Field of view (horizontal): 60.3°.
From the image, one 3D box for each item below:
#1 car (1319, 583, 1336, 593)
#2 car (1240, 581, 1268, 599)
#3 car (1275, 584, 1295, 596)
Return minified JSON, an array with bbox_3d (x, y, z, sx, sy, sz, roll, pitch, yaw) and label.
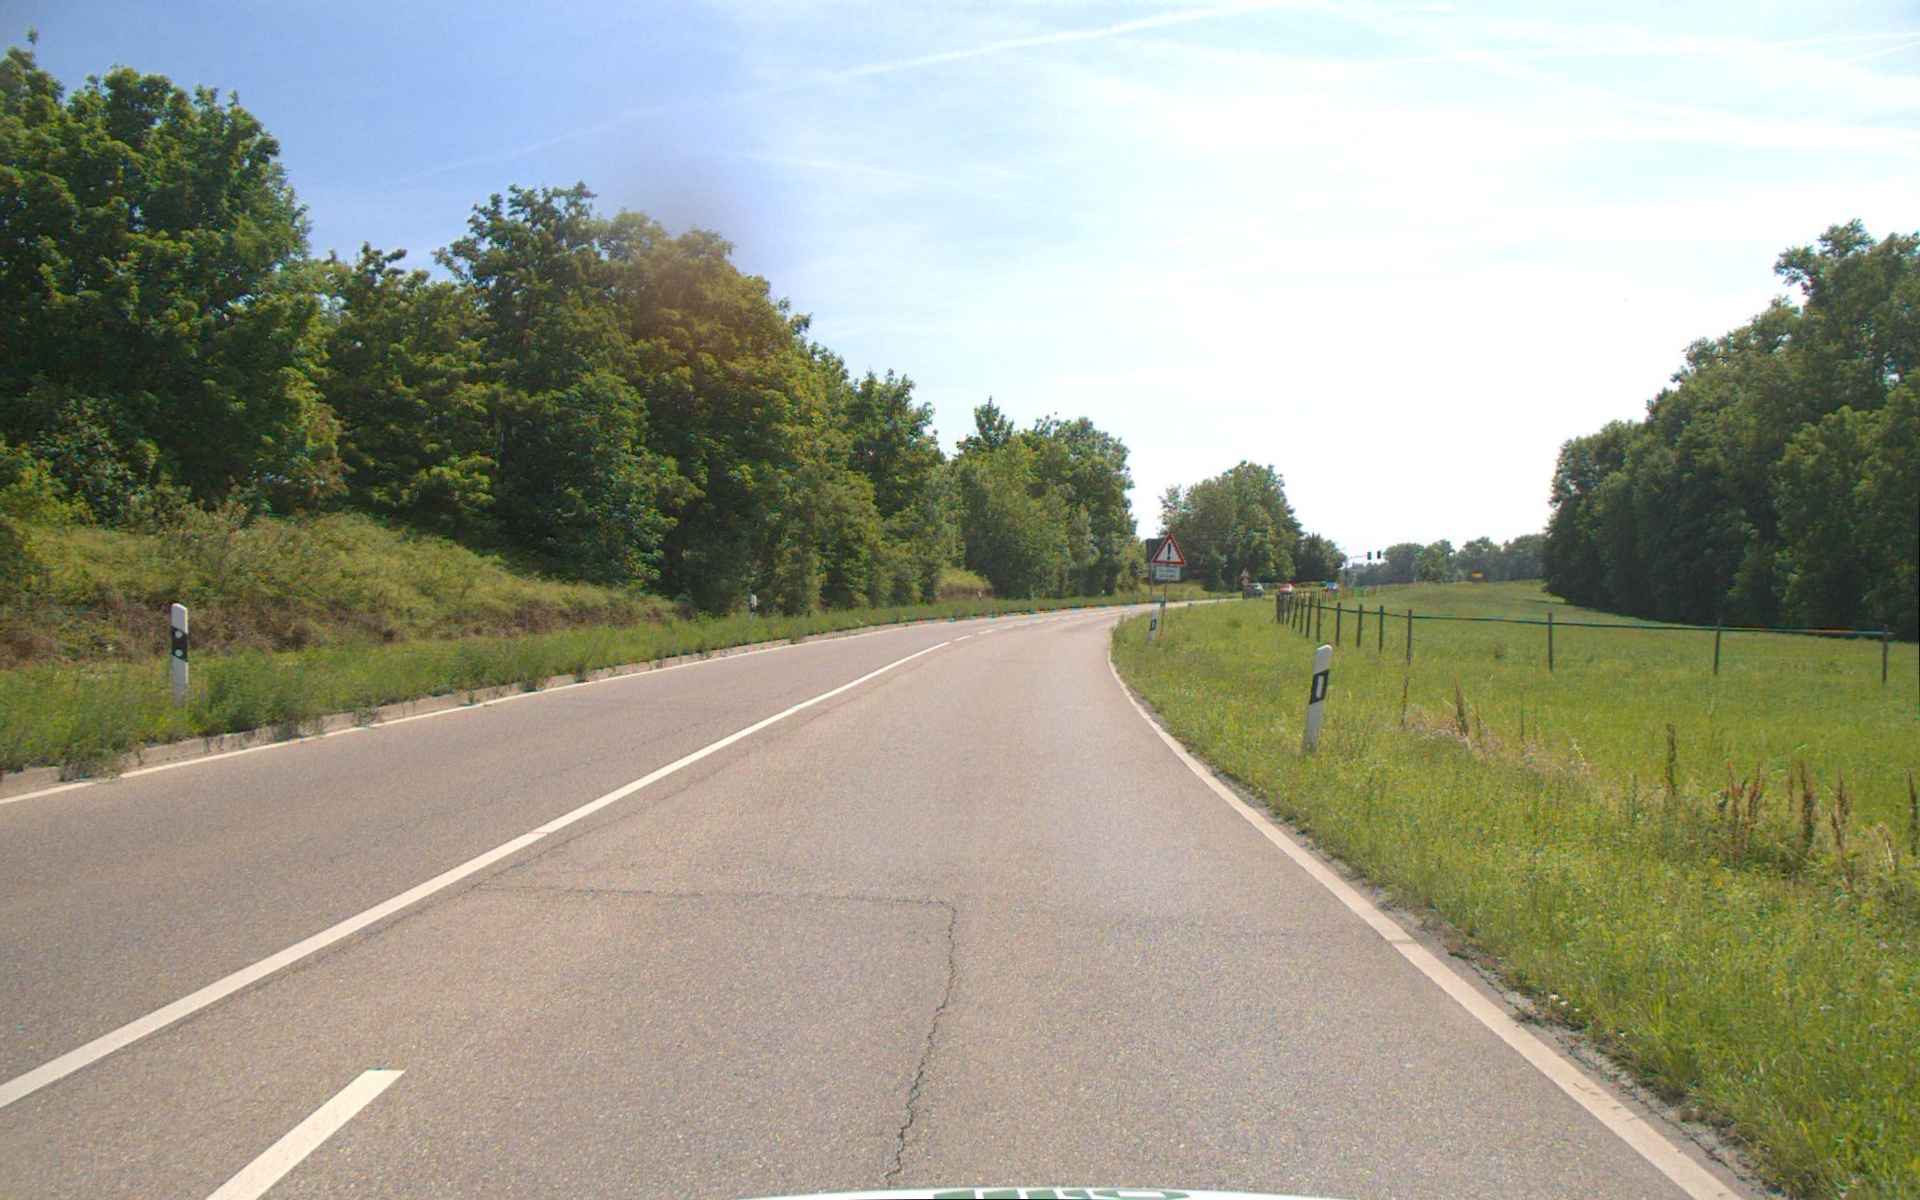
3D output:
[{"bbox_3d":[54.947,-1.777,247.071,1.784,1.494,3.999,2,1,22],"label":"car"},{"bbox_3d":[27.574,-0.951,155.012,1.952,1.601,4.001,0,1,20],"label":"car"},{"bbox_3d":[39.898,-1.211,202.952,1.783,1.494,4.000,2,1,21],"label":"car"}]
